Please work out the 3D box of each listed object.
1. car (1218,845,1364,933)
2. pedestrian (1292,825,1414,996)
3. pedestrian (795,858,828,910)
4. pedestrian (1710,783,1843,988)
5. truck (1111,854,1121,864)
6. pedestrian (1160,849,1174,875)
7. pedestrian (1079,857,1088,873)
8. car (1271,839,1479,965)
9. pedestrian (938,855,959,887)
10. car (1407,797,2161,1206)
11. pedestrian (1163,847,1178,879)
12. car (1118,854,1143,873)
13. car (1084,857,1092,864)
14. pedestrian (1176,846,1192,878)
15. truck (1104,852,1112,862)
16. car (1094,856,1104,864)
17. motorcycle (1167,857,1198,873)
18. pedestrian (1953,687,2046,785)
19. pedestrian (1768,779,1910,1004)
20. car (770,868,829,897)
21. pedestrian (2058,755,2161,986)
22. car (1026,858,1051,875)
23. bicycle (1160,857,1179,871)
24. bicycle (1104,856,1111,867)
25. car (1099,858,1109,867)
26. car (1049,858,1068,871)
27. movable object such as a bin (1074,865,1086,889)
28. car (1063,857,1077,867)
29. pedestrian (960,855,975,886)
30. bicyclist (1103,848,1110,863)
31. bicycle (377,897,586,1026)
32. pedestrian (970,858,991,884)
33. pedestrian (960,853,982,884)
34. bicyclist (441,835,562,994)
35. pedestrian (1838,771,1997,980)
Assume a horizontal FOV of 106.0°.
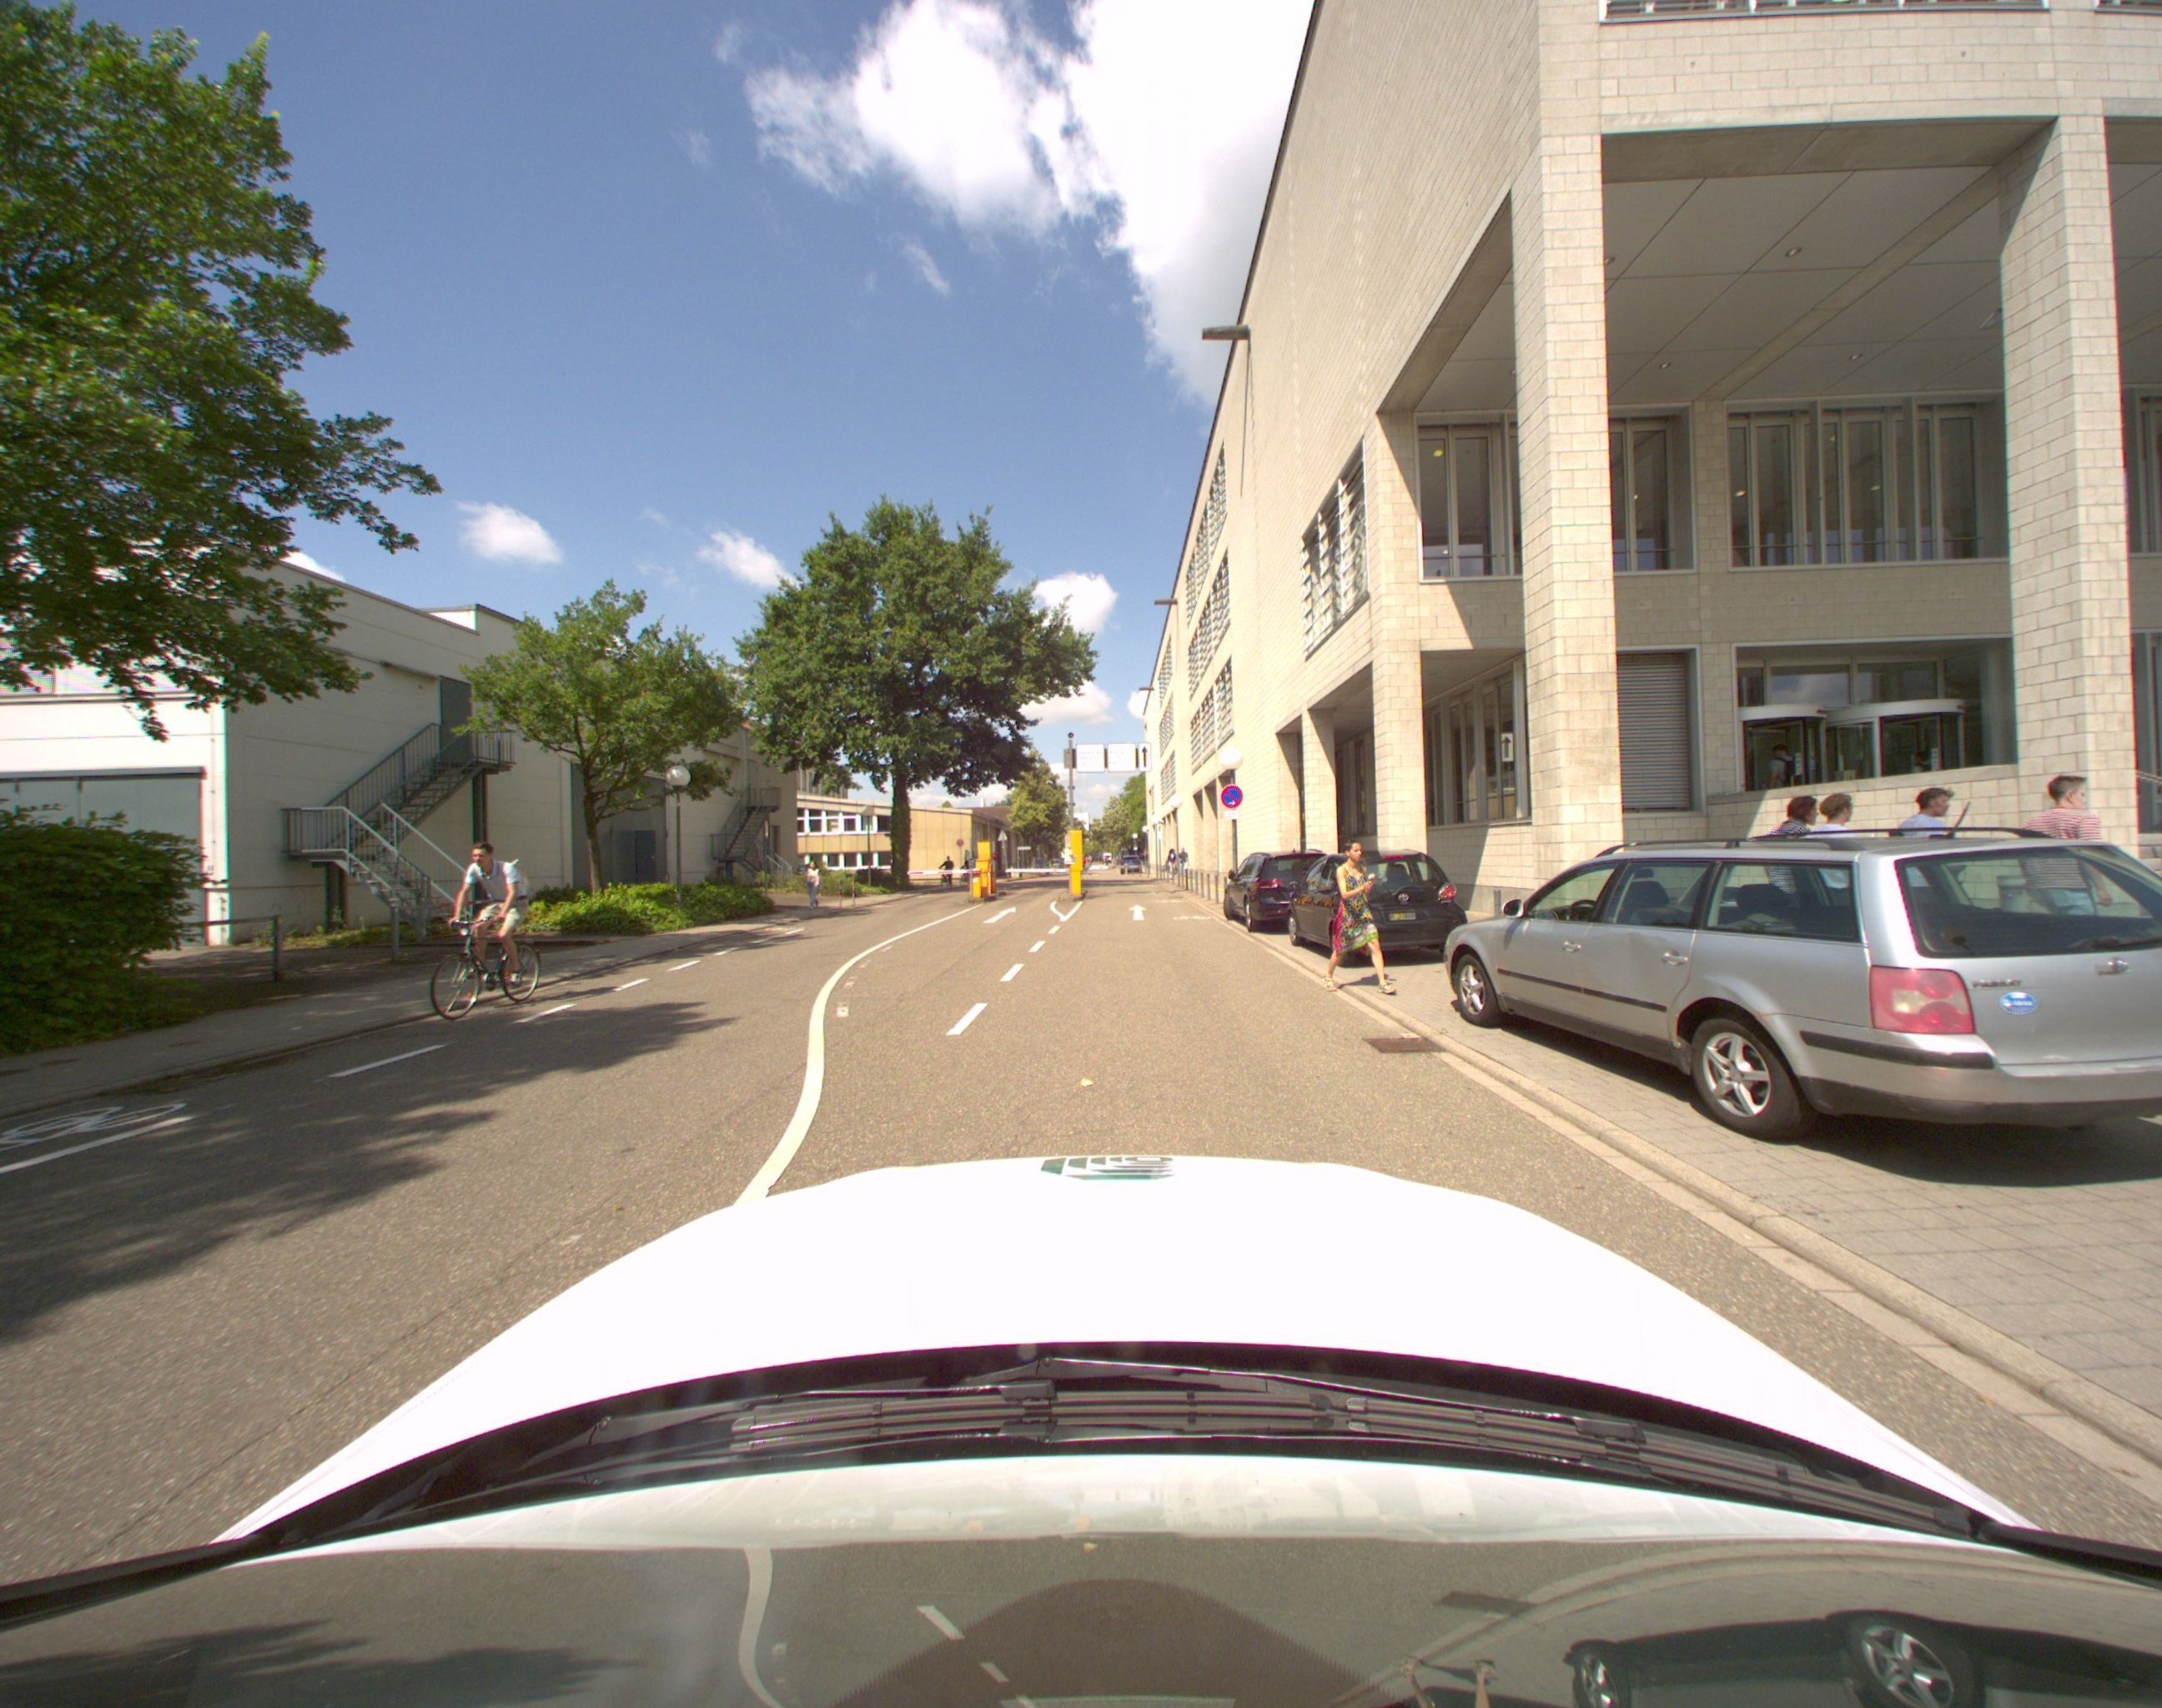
[{"bbox_3d":[4.014,0.608,16.368,1.859,1.464,4.522,-2,0,2],"label":"car"},{"bbox_3d":[2.928,0.573,8.825,0.627,1.717,1.030,-2,-1,-31],"label":"pedestrian"},{"bbox_3d":[-8.770,0.956,26.510,0.711,1.627,0.883,-2,0,0],"label":"pedestrian"},{"bbox_3d":[6.892,0.301,8.118,0.775,1.925,0.738,-2,-1,24],"label":"pedestrian"},{"bbox_3d":[7.545,1.036,175.783,1.987,2.014,3.999,-2,-2,0],"label":"truck"},{"bbox_3d":[5.625,0.491,53.209,0.738,1.632,0.887,-4,0,0],"label":"pedestrian"},{"bbox_3d":[0.229,1.152,83.604,0.891,1.632,0.887,-1,-1,-1],"label":"pedestrian"},{"bbox_3d":[4.059,0.596,11.963,1.609,1.496,4.006,-2,0,0],"label":"car"},{"bbox_3d":[-7.780,0.993,47.825,1.052,1.816,0.806,-2,0,0],"label":"pedestrian"},{"bbox_3d":[4.051,0.566,5.499,1.714,1.529,4.564,-4,0,-1],"label":"car"},{"bbox_3d":[5.239,0.521,47.723,0.692,1.780,1.085,-4,0,0],"label":"pedestrian"},{"bbox_3d":[4.270,0.833,70.913,1.986,1.546,4.214,-2,0,2],"label":"car"},{"bbox_3d":[2.008,1.878,232.898,1.984,1.720,4.004,-2,-2,4],"label":"car"},{"bbox_3d":[6.025,0.463,47.730,0.764,1.780,0.910,-4,0,0],"label":"pedestrian"},{"bbox_3d":[6.794,0.778,206.156,1.987,2.271,4.615,-2,-2,0],"label":"truck"},{"bbox_3d":[4.106,1.411,185.450,1.984,1.720,4.004,-2,-2,4],"label":"car"},{"bbox_3d":[7.226,0.783,58.117,2.114,1.023,0.660,-4,-2,2],"label":"motorcycle"},{"bbox_3d":[16.235,-2.070,14.410,0.714,1.585,0.717,-2,-2,4],"label":"pedestrian"},{"bbox_3d":[6.862,0.326,7.413,0.776,1.925,0.597,-2,-1,30],"label":"pedestrian"},{"bbox_3d":[-16.259,1.600,47.280,1.823,1.467,4.299,-2,0,1],"label":"car"},{"bbox_3d":[9.507,0.123,6.930,1.090,1.920,1.021,-2,0,2],"label":"pedestrian"},{"bbox_3d":[-4.066,1.146,78.321,1.986,1.545,4.214,-2,0,2],"label":"car"},{"bbox_3d":[7.381,0.816,67.770,1.535,1.066,0.649,-2,-1,9],"label":"bicycle"},{"bbox_3d":[3.729,1.078,115.923,0.983,1.316,2.964,-2,-2,1],"label":"bicycle"},{"bbox_3d":[4.973,1.765,175.736,1.984,1.720,4.004,-2,-2,4],"label":"car"},{"bbox_3d":[-2.776,1.257,100.257,1.986,1.545,4.214,-2,0,2],"label":"car"},{"bbox_3d":[-0.036,0.898,31.979,0.413,0.905,0.353,-1,0,6],"label":"movable object such as a bin"},{"bbox_3d":[-1.694,1.247,128.056,1.986,1.545,4.214,-2,0,2],"label":"car"},{"bbox_3d":[-6.639,0.960,47.710,0.703,1.809,1.001,-2,0,0],"label":"pedestrian"},{"bbox_3d":[3.643,0.234,116.071,0.984,2.132,1.036,-2,-2,1],"label":"bicyclist"},{"bbox_3d":[-6.705,1.135,9.297,0.690,1.171,2.210,-2,-1,1],"label":"bicycle"},{"bbox_3d":[-6.428,1.059,52.135,0.876,1.632,0.902,-2,-1,33],"label":"pedestrian"},{"bbox_3d":[-6.902,0.927,51.206,0.876,1.925,1.012,-2,-1,33],"label":"pedestrian"},{"bbox_3d":[-6.718,0.669,9.481,0.690,1.737,0.919,-2,-1,1],"label":"bicyclist"},{"bbox_3d":[8.164,0.203,7.982,0.721,1.925,0.751,-2,-1,-1],"label":"pedestrian"}]
